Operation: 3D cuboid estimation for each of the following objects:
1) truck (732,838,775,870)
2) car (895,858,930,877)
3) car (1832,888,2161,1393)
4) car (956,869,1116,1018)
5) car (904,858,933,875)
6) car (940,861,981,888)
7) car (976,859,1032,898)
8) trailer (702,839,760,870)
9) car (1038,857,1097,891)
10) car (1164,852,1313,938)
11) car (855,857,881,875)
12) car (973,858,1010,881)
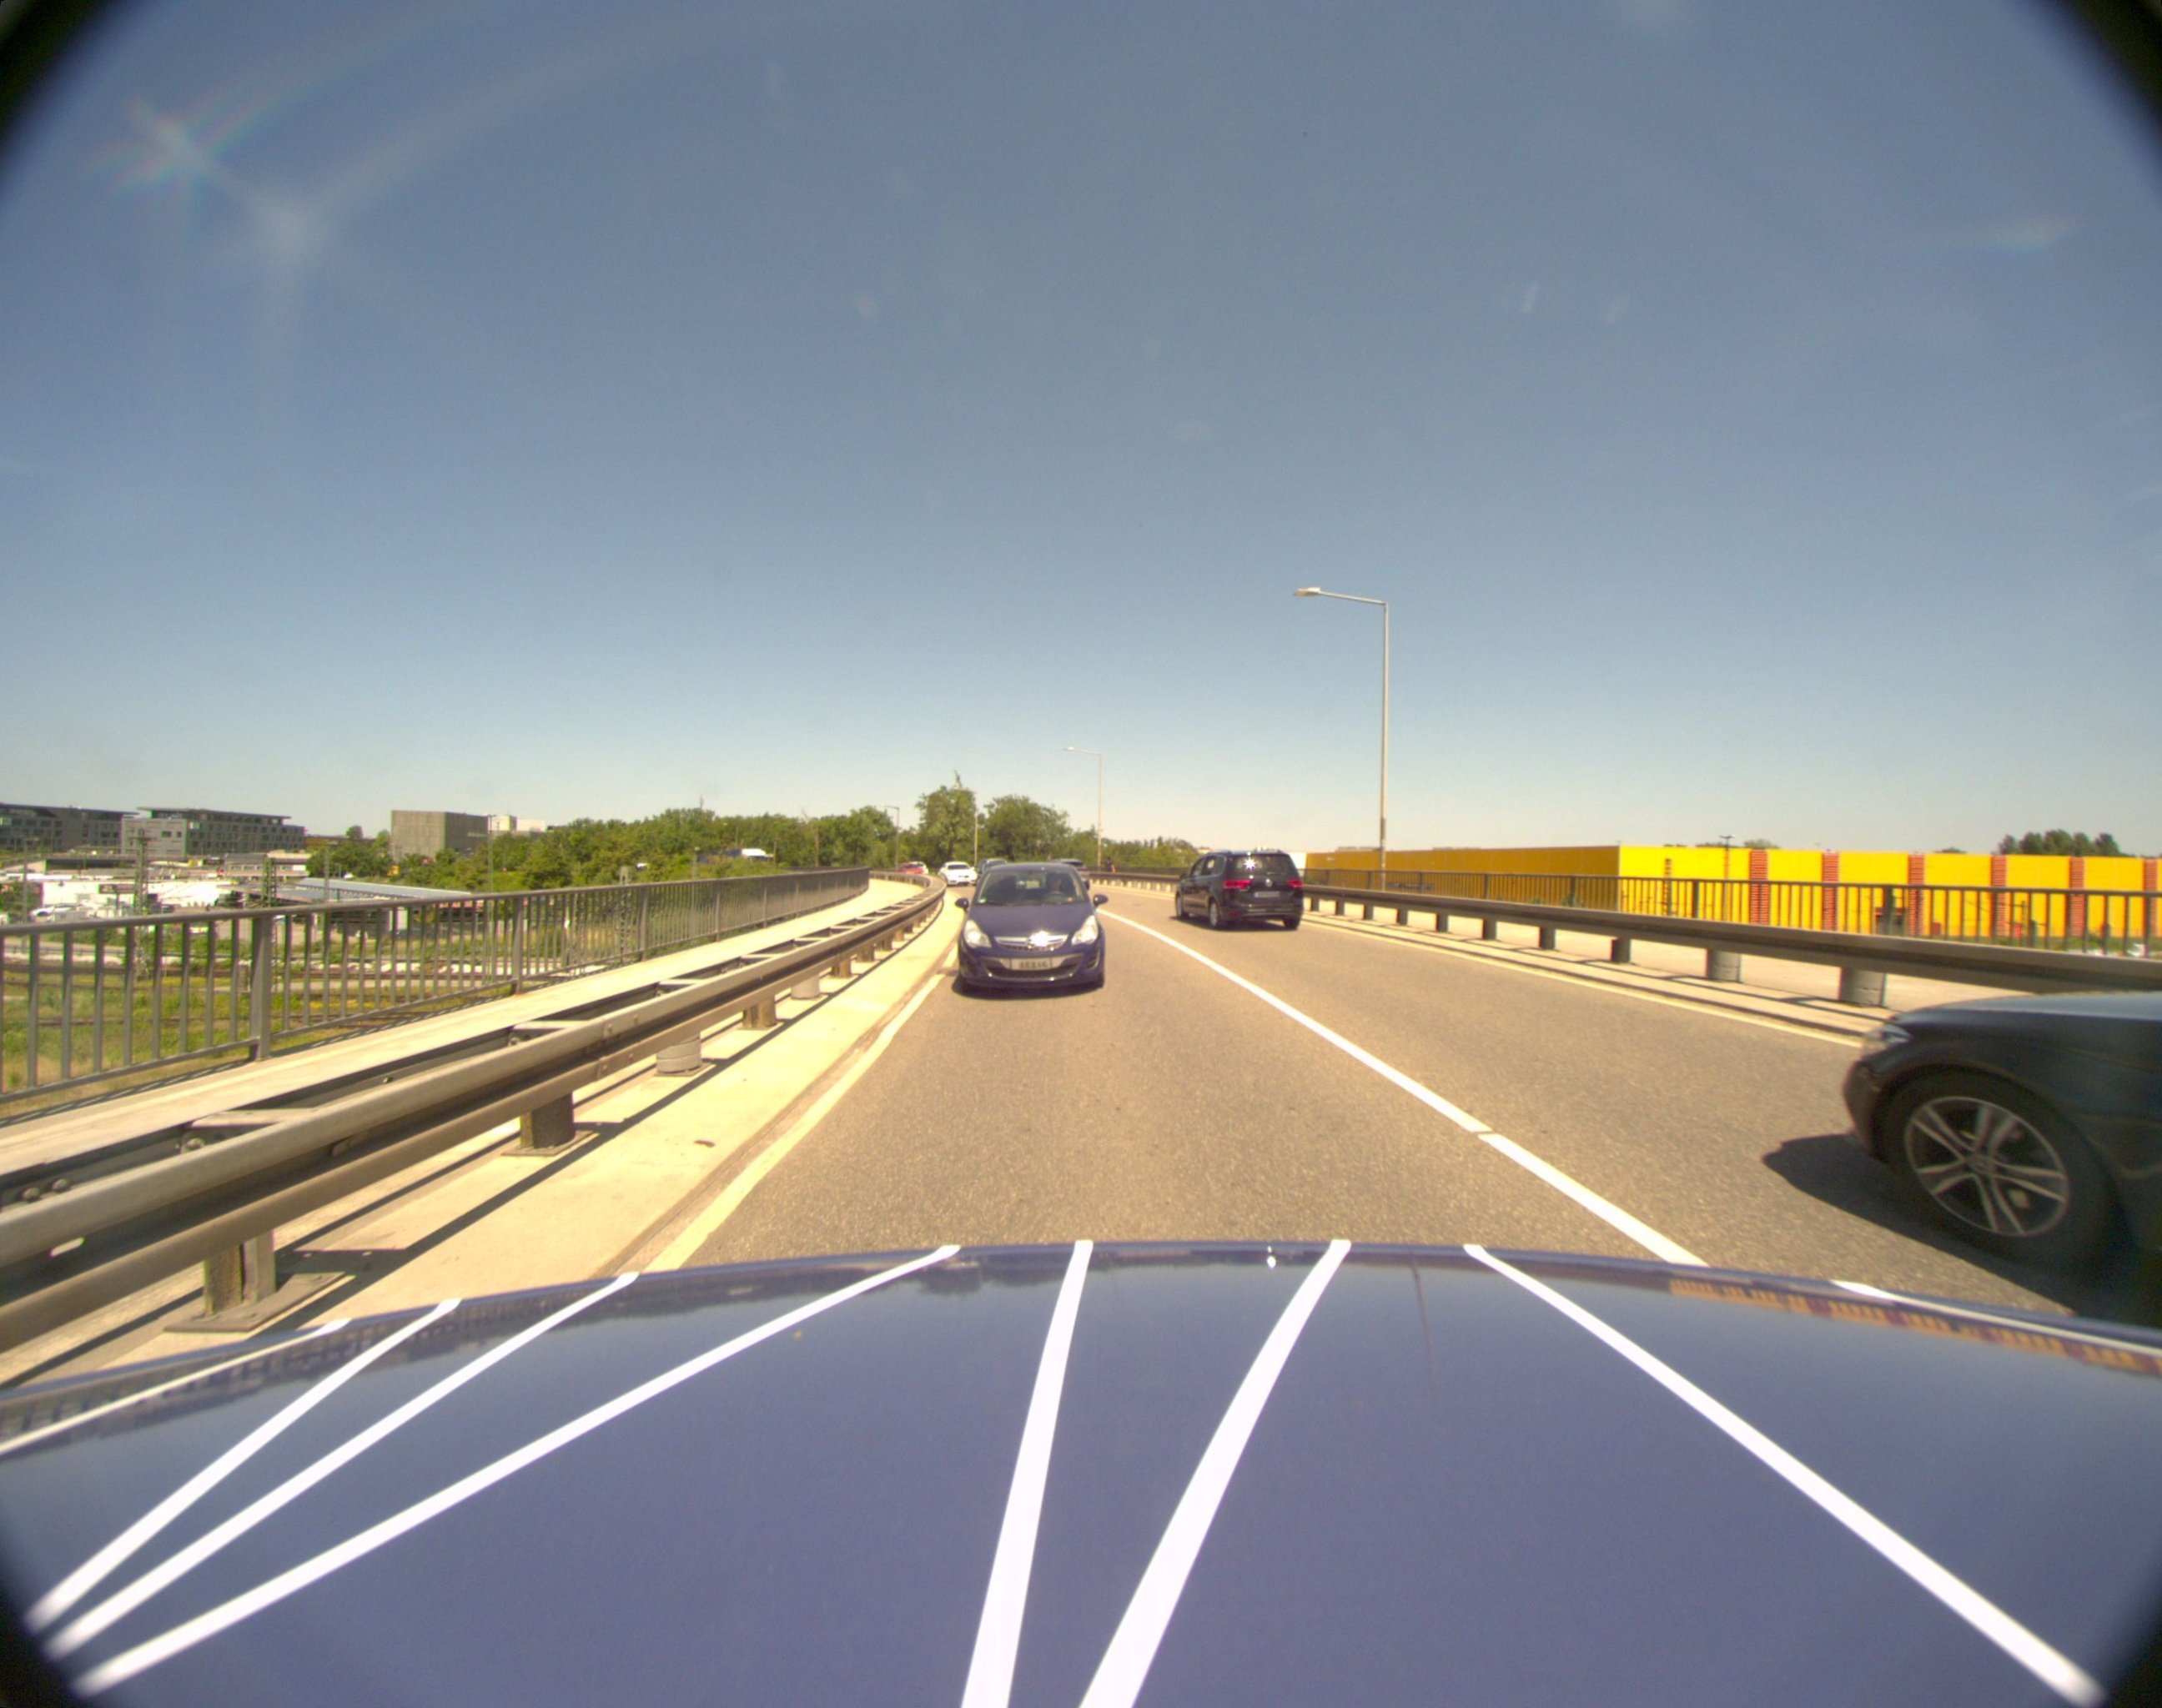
[{"bbox_3d":[-46.518,0.027,107.832,6.820,4.204,2.702,-1,1,41],"label":"truck"},{"bbox_3d":[-13.737,1.084,61.674,1.798,1.447,4.513,-1,1,-25],"label":"car"},{"bbox_3d":[4.099,0.863,1.020,1.777,1.430,4.391,-1,0,-2],"label":"car"},{"bbox_3d":[-0.760,0.971,9.973,1.646,1.431,3.997,-2,0,-9],"label":"car"},{"bbox_3d":[-15.706,1.204,73.157,1.702,1.598,3.991,0,0,-28],"label":"car"},{"bbox_3d":[-7.266,1.171,45.489,1.797,1.446,4.517,-2,0,-17],"label":"car"},{"bbox_3d":[-3.288,0.952,31.689,1.796,1.446,4.518,-1,0,-12],"label":"car"},{"bbox_3d":[-51.983,0.130,112.596,12.677,4.210,2.707,-1,1,42],"label":"trailer"},{"bbox_3d":[-0.718,0.907,36.554,1.782,1.499,4.187,0,0,-17],"label":"car"},{"bbox_3d":[3.247,0.783,16.606,1.778,1.616,4.250,-1,0,-9],"label":"car"},{"bbox_3d":[-25.291,1.426,90.168,2.003,2.002,3.990,-2,1,-29],"label":"car"},{"bbox_3d":[-6.485,1.063,54.797,1.701,1.598,3.993,-1,0,-21],"label":"car"}]
